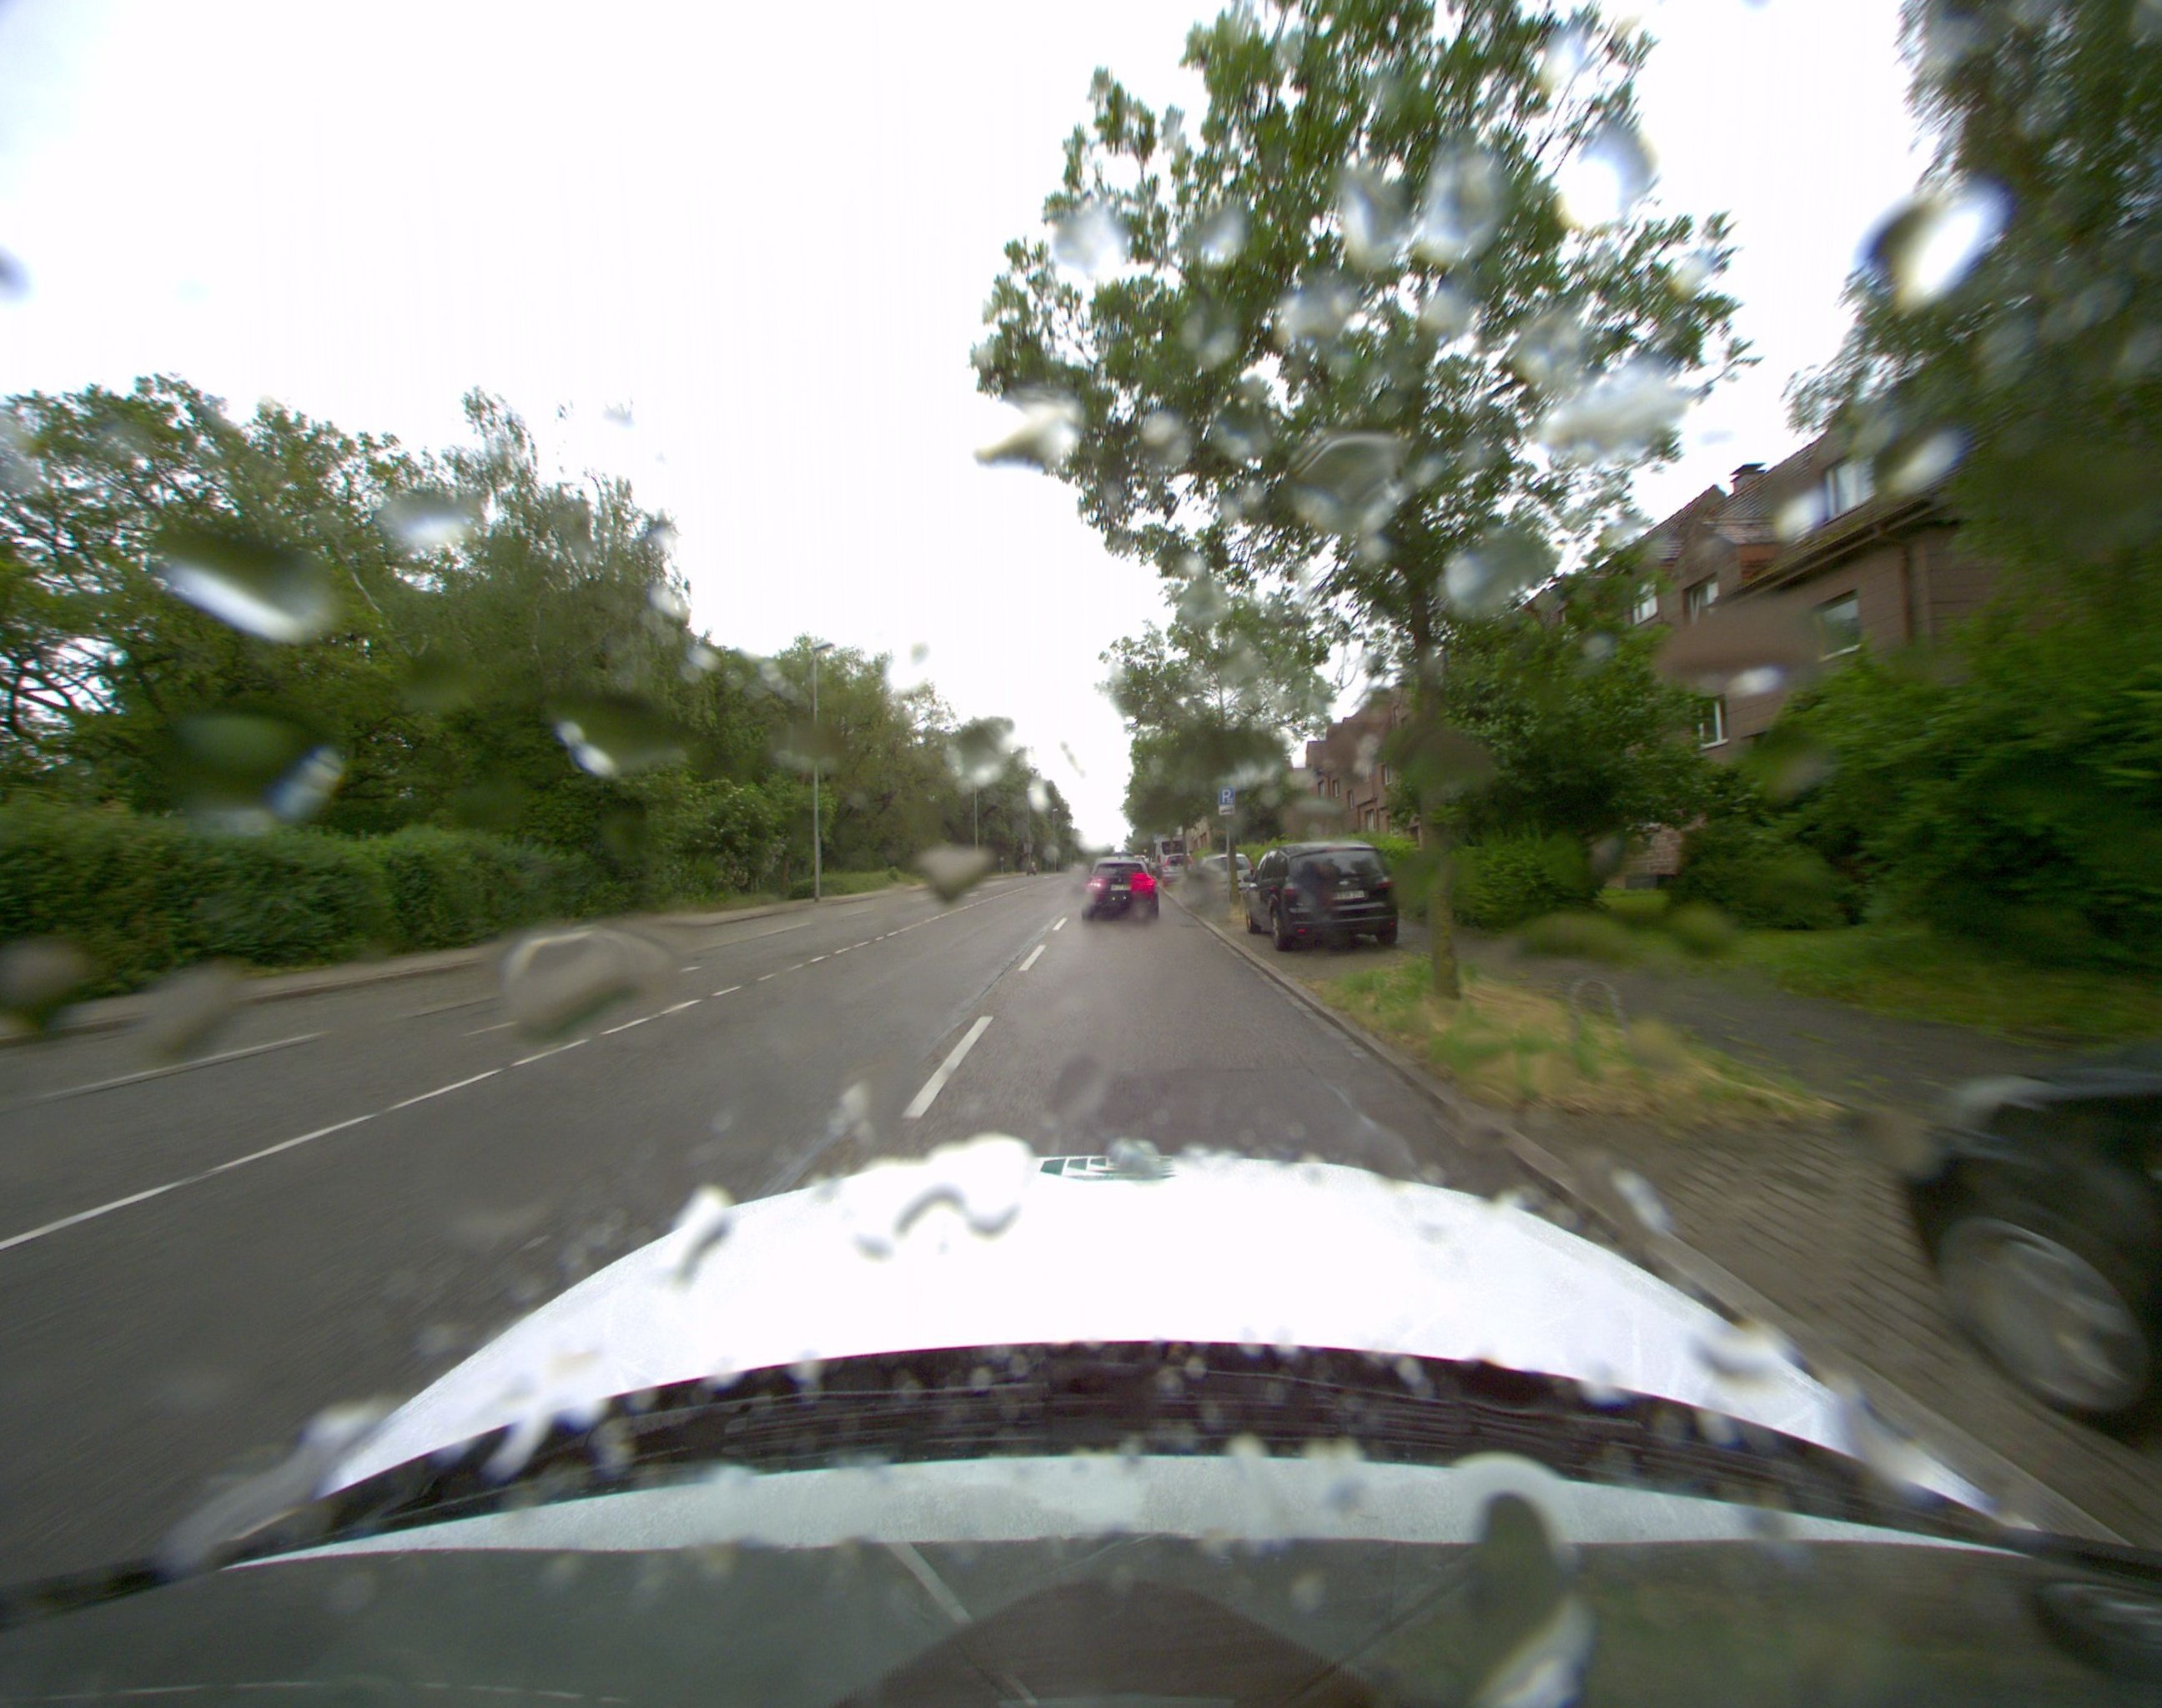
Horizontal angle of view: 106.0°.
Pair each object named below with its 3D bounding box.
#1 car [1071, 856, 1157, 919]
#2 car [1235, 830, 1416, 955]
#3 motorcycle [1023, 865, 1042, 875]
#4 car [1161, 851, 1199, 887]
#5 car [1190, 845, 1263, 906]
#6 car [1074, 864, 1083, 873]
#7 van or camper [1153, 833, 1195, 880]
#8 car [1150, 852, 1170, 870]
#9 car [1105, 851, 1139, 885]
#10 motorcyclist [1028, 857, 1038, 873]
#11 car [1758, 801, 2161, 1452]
[{"bbox_3d":[0.843,0.811,21.124,1.986,1.453,4.002,1,-1,2],"label":"car"},{"bbox_3d":[3.916,0.558,13.909,1.817,1.678,4.587,-3,0,3],"label":"car"},{"bbox_3d":[-5.279,1.753,88.844,2.162,1.118,0.829,0,0,45],"label":"motorcycle"},{"bbox_3d":[4.807,0.713,39.793,1.660,1.528,3.838,-5,-1,6],"label":"car"},{"bbox_3d":[4.332,0.590,24.810,1.815,1.602,4.481,-3,0,6],"label":"car"},{"bbox_3d":[-0.464,2.783,155.543,1.683,1.483,4.453,-4,-1,1],"label":"car"},{"bbox_3d":[5.779,0.129,51.565,2.188,2.651,7.309,-3,0,4],"label":"van or camper"},{"bbox_3d":[7.688,0.658,79.605,1.694,1.584,4.648,-5,0,4],"label":"car"},{"bbox_3d":[2.607,0.890,51.262,1.985,2.014,4.004,-1,-1,4],"label":"car"},{"bbox_3d":[-5.240,1.220,88.791,0.643,1.681,0.818,-1,-1,44],"label":"motorcyclist"},{"bbox_3d":[3.335,0.599,1.069,1.716,1.512,3.786,-3,0,0],"label":"car"}]
